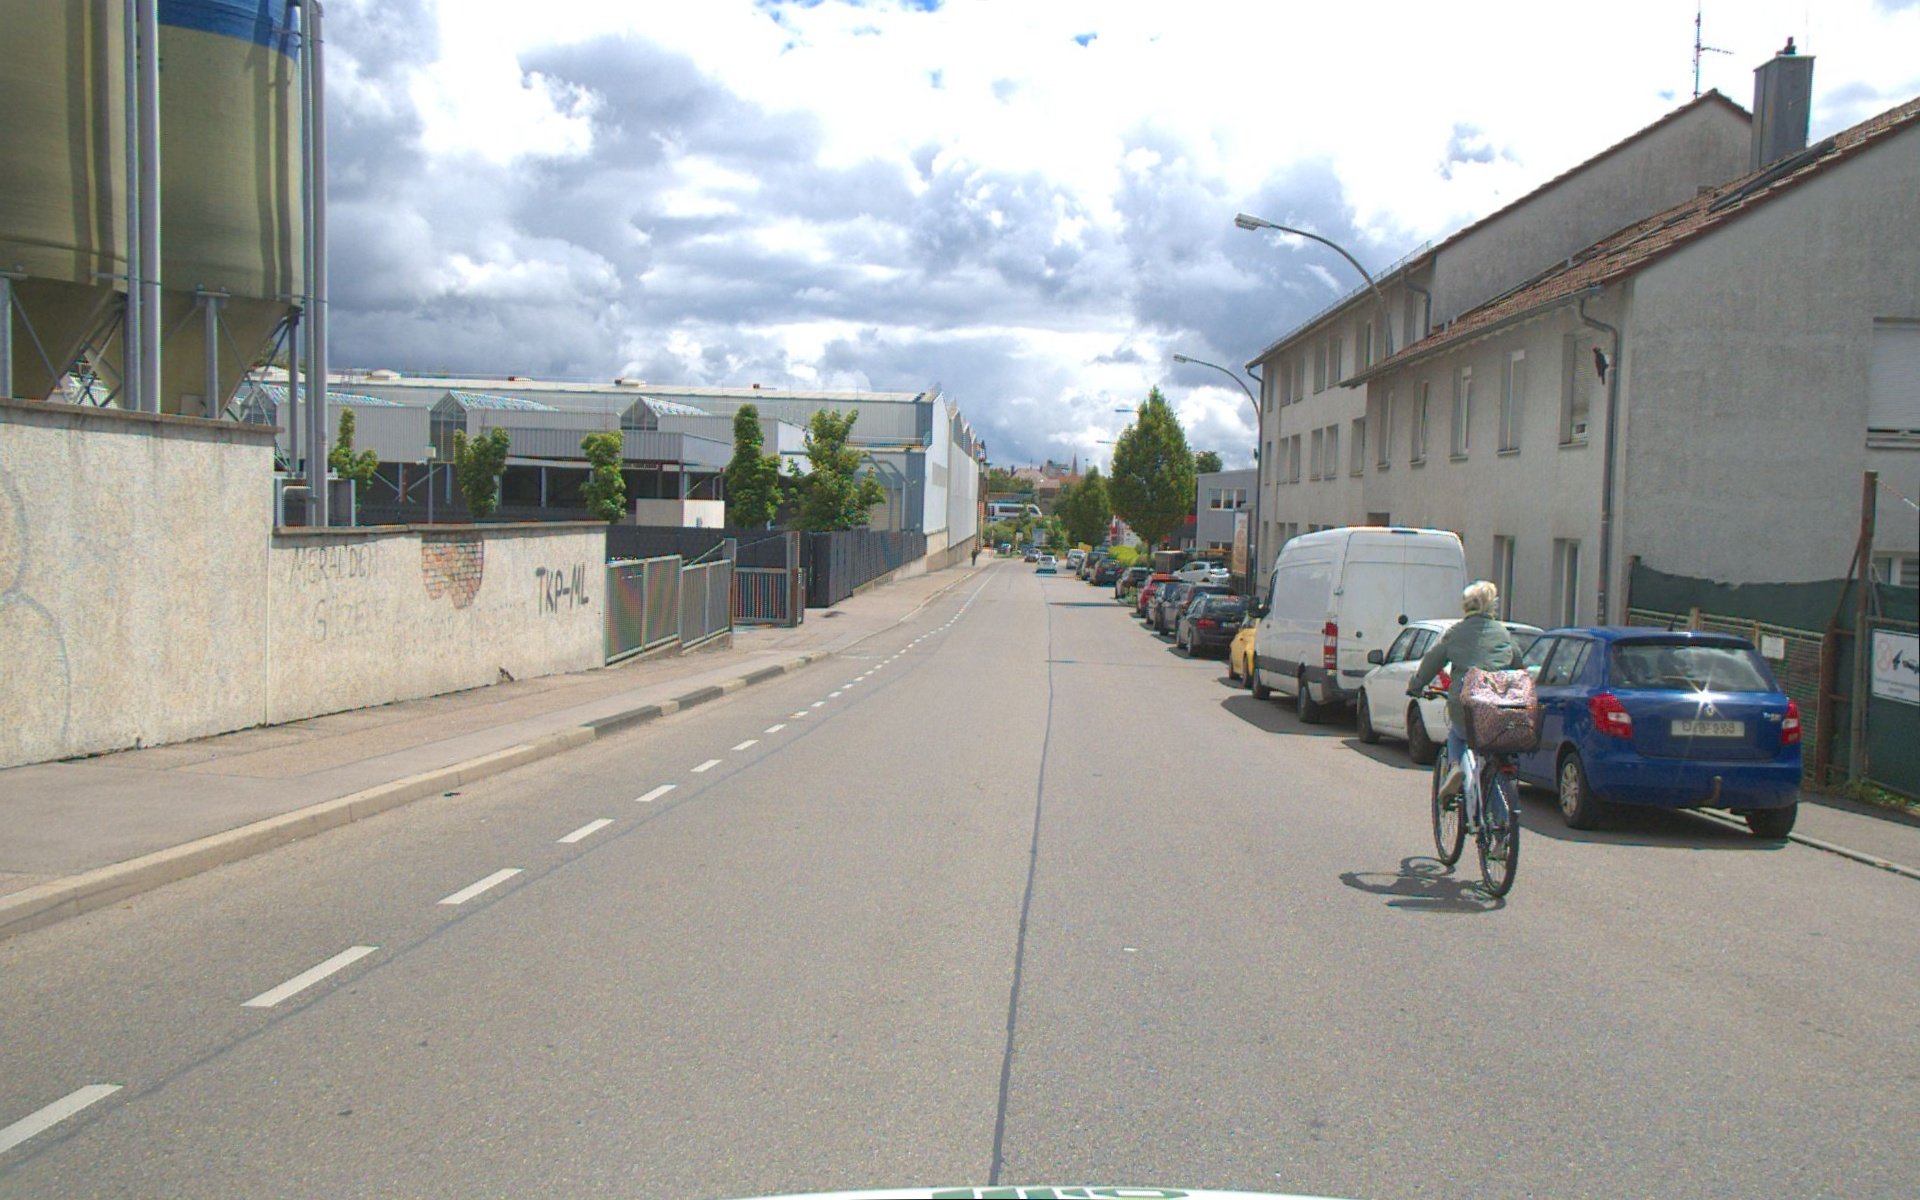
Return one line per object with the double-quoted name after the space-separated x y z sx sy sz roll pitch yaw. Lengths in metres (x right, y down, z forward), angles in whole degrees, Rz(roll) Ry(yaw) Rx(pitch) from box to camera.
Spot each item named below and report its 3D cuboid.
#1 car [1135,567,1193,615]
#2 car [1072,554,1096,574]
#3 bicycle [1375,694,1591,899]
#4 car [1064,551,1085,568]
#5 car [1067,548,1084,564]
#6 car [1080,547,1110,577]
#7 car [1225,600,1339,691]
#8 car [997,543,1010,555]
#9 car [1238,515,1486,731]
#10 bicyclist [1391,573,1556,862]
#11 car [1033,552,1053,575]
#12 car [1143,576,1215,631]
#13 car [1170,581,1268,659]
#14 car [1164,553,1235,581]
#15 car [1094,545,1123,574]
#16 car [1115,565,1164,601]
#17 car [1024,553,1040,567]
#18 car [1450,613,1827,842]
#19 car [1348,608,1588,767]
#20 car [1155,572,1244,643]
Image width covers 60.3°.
7.225 -0.339 58.958 1.699 1.498 4.264 2 2 3 "car"
9.748 -2.827 129.853 1.678 1.499 4.513 2 1 2 "car"
3.060 1.118 9.862 0.725 0.992 1.732 2 0 0 "bicycle"
11.102 -3.933 160.654 1.667 1.553 3.738 4 2 -1 "car"
11.916 -4.552 171.108 1.665 1.554 3.740 -3 1 4 "car"
9.479 -2.665 116.371 1.830 2.024 5.146 2 1 2 "car"
5.969 0.797 30.992 1.559 1.472 3.792 2 1 3 "car"
5.983 -7.022 227.867 1.814 1.512 4.001 2 0 2 "car"
5.716 0.300 24.661 1.991 2.687 7.284 2 0 1 "car"
3.069 0.681 9.940 0.724 1.655 0.731 2 0 0 "bicyclist"
6.913 -3.044 137.838 1.534 1.817 3.606 2 0 2 "car"
6.863 0.067 52.260 1.699 1.448 4.863 2 3 1 "car"
6.361 0.438 41.058 1.669 1.536 5.089 4 3 1 "car"
13.727 -1.893 94.958 1.706 1.488 4.023 -3 2 -36 "car"
9.087 -2.484 101.467 1.644 1.666 4.125 2 1 4 "car"
8.073 -0.789 74.799 1.754 1.491 4.709 2 1 1 "car"
8.495 -4.689 195.432 1.683 1.583 4.289 -2 0 2 "car"
5.376 0.914 13.683 1.534 1.536 4.095 2 0 2 "car"
5.562 0.893 18.566 1.560 1.536 3.790 2 0 1 "car"
6.695 0.151 46.675 1.643 1.666 4.796 3 3 -1 "car"
